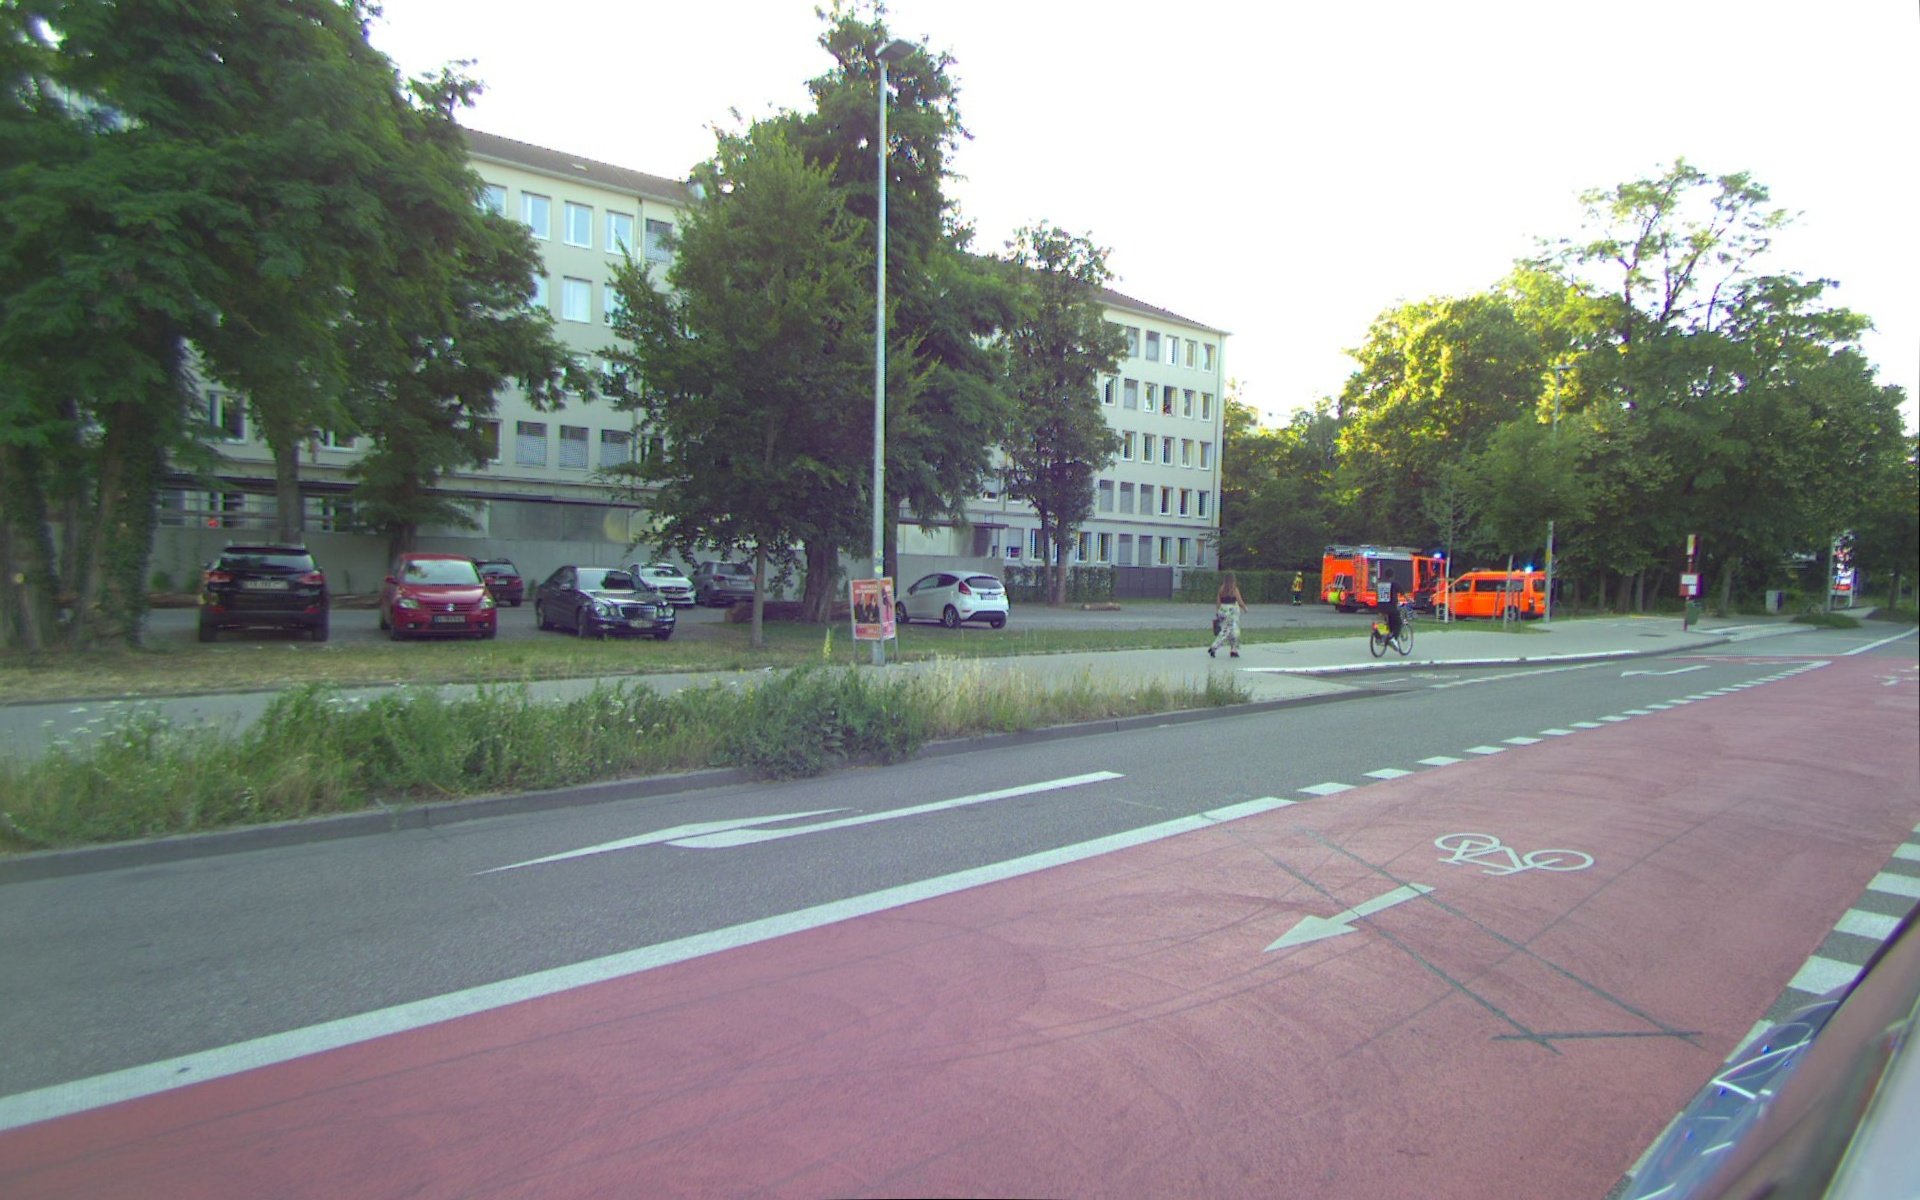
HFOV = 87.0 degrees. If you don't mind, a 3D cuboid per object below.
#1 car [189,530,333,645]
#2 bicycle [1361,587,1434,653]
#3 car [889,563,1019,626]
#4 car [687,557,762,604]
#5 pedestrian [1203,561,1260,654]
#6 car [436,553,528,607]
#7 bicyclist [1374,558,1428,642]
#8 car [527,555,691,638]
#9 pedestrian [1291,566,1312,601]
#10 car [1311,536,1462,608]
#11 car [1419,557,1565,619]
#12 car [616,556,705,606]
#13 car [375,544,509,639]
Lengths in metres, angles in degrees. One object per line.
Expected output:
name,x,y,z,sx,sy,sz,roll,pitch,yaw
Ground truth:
car,-12.295,-0.292,17.861,1.882,1.761,4.241,0,2,-35
bicycle,8.830,0.385,20.403,1.866,1.256,0.571,0,2,-41
car,-0.226,-0.190,26.854,1.633,1.477,3.667,0,2,-35
car,-8.207,-0.700,35.082,1.734,1.477,3.320,1,2,-27
pedestrian,4.946,0.129,18.443,0.676,1.642,0.682,1,2,-41
car,-14.531,-0.637,30.697,1.738,1.477,3.626,0,3,-38
bicyclist,8.930,-0.014,20.474,1.019,1.652,0.571,0,2,-41
car,-7.388,-0.141,20.988,1.883,1.482,4.519,0,3,-37
pedestrian,18.695,-0.914,55.433,0.672,1.864,0.844,1,2,-44
car,20.961,-1.346,49.516,8.138,3.283,2.775,0,2,-34
car,22.775,-0.566,43.553,1.963,2.422,5.168,0,2,-37
car,-10.023,-0.658,33.684,1.880,1.540,3.921,0,2,-32
car,-10.114,-0.231,19.596,1.882,1.630,4.003,0,2,-33
